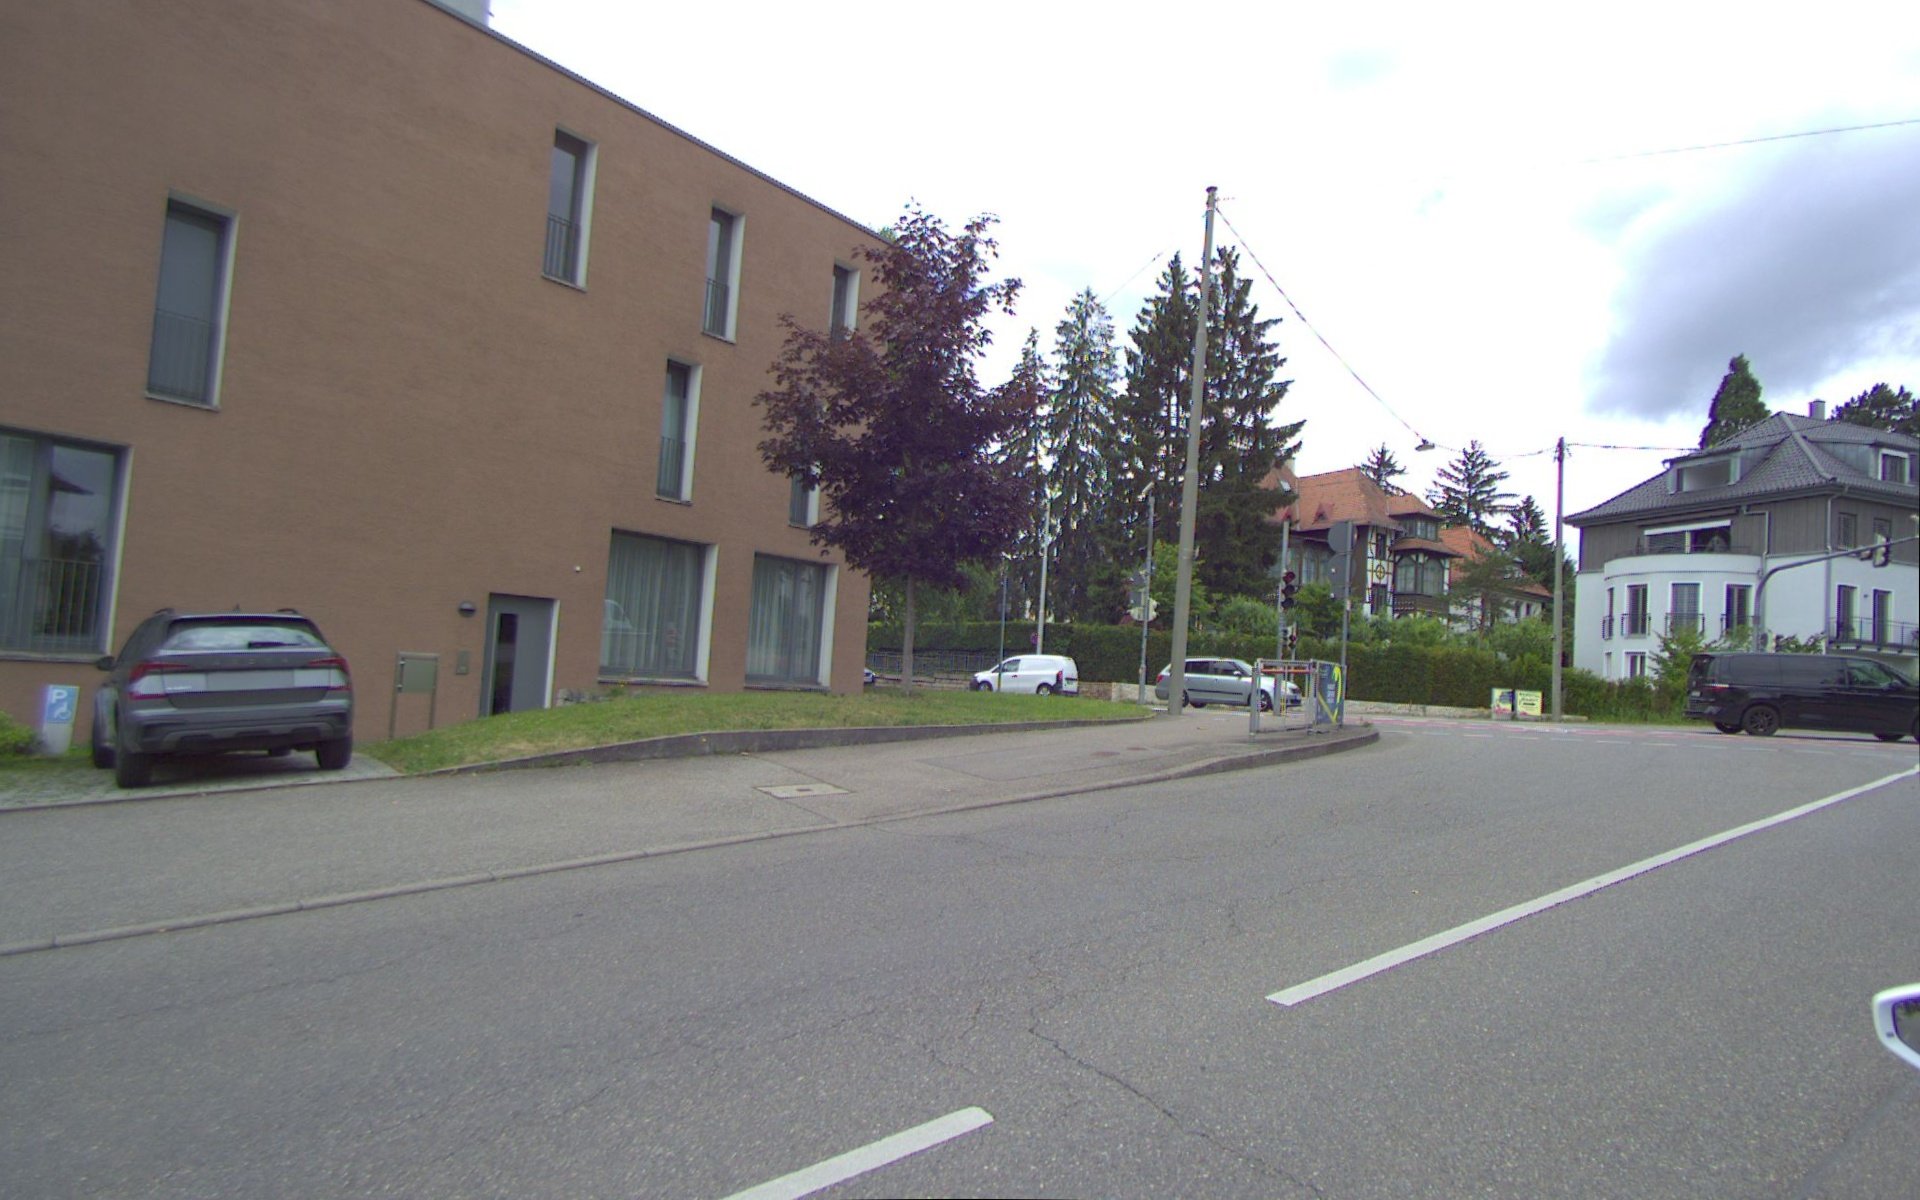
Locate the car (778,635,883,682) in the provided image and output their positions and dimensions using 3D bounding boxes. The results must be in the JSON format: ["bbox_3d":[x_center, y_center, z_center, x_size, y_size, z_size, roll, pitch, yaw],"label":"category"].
[{"bbox_3d":[-5.202,2.318,40.017,1.901,1.706,4.349,6,-6,-42],"label":"car"}]

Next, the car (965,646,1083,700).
[{"bbox_3d":[2.554,2.864,40.075,4.274,1.881,1.997,1,-1,29],"label":"car"}]

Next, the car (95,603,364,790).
[{"bbox_3d":[-7.330,0.829,9.940,1.720,1.483,3.724,1,-2,-43],"label":"car"}]

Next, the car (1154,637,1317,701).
[{"bbox_3d":[7.844,1.919,28.762,4.129,1.496,1.706,2,1,38],"label":"car"}]

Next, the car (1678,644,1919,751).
[{"bbox_3d":[19.384,2.144,22.712,4.687,2.040,2.000,2,0,21],"label":"car"}]
